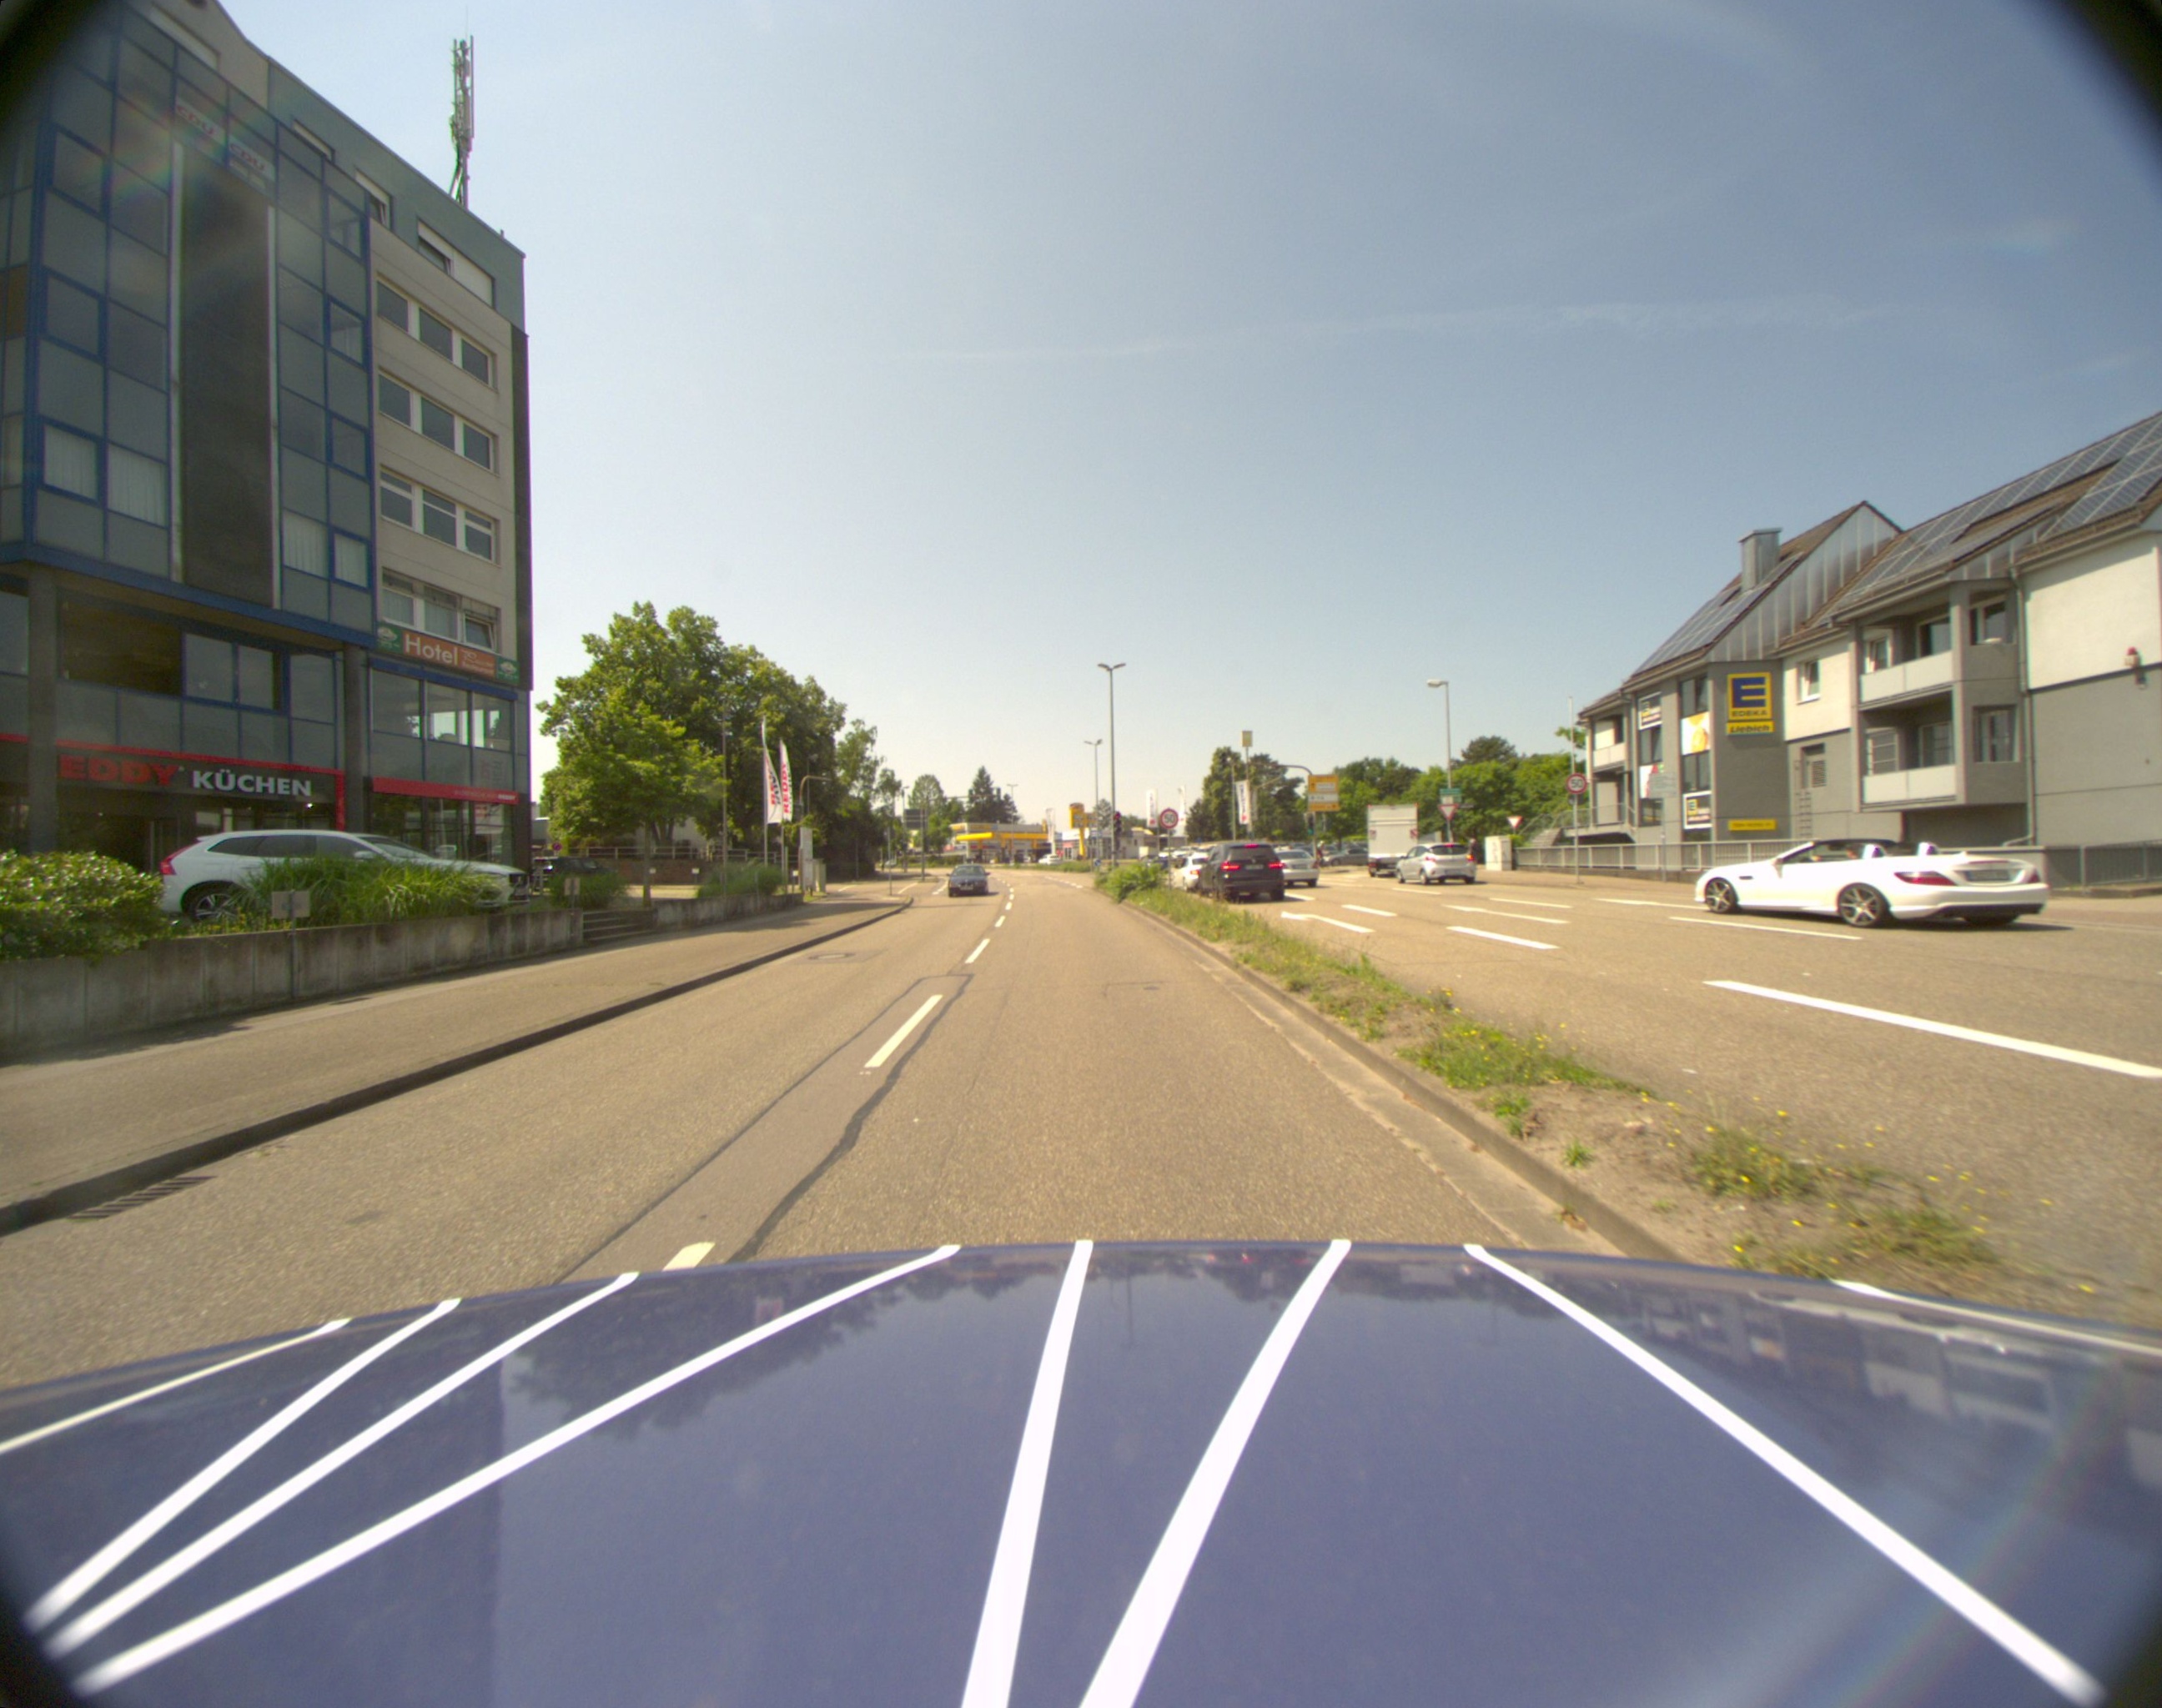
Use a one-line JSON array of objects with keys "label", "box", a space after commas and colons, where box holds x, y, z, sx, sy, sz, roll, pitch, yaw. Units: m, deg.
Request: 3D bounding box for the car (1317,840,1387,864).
[{"label": "car", "box": [20.815, -0.144, 58.414, 4.762, 1.601, 1.760, -3, 1, -8]}]

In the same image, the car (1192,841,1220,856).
[{"label": "car", "box": [12.955, -0.564, 78.838, 1.712, 1.424, 3.968, 0, 2, 27]}]

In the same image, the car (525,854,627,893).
[{"label": "car", "box": [-24.288, 0.883, 36.757, 1.541, 1.666, 4.332, -2, 0, 9]}]

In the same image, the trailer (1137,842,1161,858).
[{"label": "trailer", "box": [7.813, -0.460, 87.044, 1.689, 1.694, 2.439, -2, 1, 36]}]

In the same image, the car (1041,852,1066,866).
[{"label": "car", "box": [-3.243, 0.597, 89.067, 1.823, 1.561, 4.550, -4, 1, -15]}]

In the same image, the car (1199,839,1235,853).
[{"label": "car", "box": [17.455, -0.971, 97.738, 1.697, 1.640, 4.746, -2, 1, -32]}]

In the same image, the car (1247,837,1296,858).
[{"label": "car", "box": [18.425, -0.620, 73.594, 4.298, 1.891, 1.832, 0, 2, 25]}]

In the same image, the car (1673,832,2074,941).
[{"label": "car", "box": [11.761, 0.402, 11.825, 1.809, 1.346, 4.356, -2, 0, 3]}]

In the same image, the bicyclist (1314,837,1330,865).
[{"label": "bicyclist", "box": [14.742, -0.176, 46.490, 0.422, 1.633, 0.820, -3, 0, -16]}]

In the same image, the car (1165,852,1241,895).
[{"label": "car", "box": [4.575, 0.681, 29.234, 1.868, 1.422, 4.743, -2, 0, -3]}]

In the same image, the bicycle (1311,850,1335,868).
[{"label": "bicycle", "box": [14.747, 0.278, 46.314, 0.422, 1.048, 1.787, -2, 1, -16]}]

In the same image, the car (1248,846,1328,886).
[{"label": "car", "box": [7.821, 0.401, 29.133, 1.902, 1.353, 4.197, -2, 1, 0]}]

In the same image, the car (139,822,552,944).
[{"label": "car", "box": [-12.518, 0.414, 13.410, 4.743, 1.704, 1.997, -3, 1, -19]}]

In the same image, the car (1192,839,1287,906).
[{"label": "car", "box": [4.678, 0.454, 23.127, 1.913, 1.741, 4.759, -3, 1, 1]}]

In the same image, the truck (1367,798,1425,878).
[{"label": "truck", "box": [15.245, -0.792, 37.094, 2.267, 3.398, 7.047, -3, 1, 21]}]

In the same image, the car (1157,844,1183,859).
[{"label": "car", "box": [9.849, -0.321, 83.599, 1.754, 1.501, 3.825, -2, 1, 24]}]

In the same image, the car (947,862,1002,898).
[{"label": "car", "box": [-4.671, 1.102, 33.933, 1.697, 1.365, 4.000, -2, 1, 2]}]

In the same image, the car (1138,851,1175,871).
[{"label": "car", "box": [5.413, 0.503, 54.912, 1.868, 1.358, 4.344, -1, 0, -6]}]

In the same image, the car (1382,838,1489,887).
[{"label": "car", "box": [12.699, 0.253, 27.516, 1.902, 1.557, 4.197, -2, 1, 0]}]

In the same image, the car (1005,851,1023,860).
[{"label": "car", "box": [-12.517, 0.357, 141.841, 1.659, 1.534, 4.203, -3, 1, -31]}]

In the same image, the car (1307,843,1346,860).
[{"label": "car", "box": [23.380, -0.233, 72.616, 1.796, 1.528, 3.996, -3, 1, -11]}]

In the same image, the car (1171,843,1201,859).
[{"label": "car", "box": [11.317, -0.333, 81.455, 1.914, 1.532, 3.969, -2, 1, 28]}]
